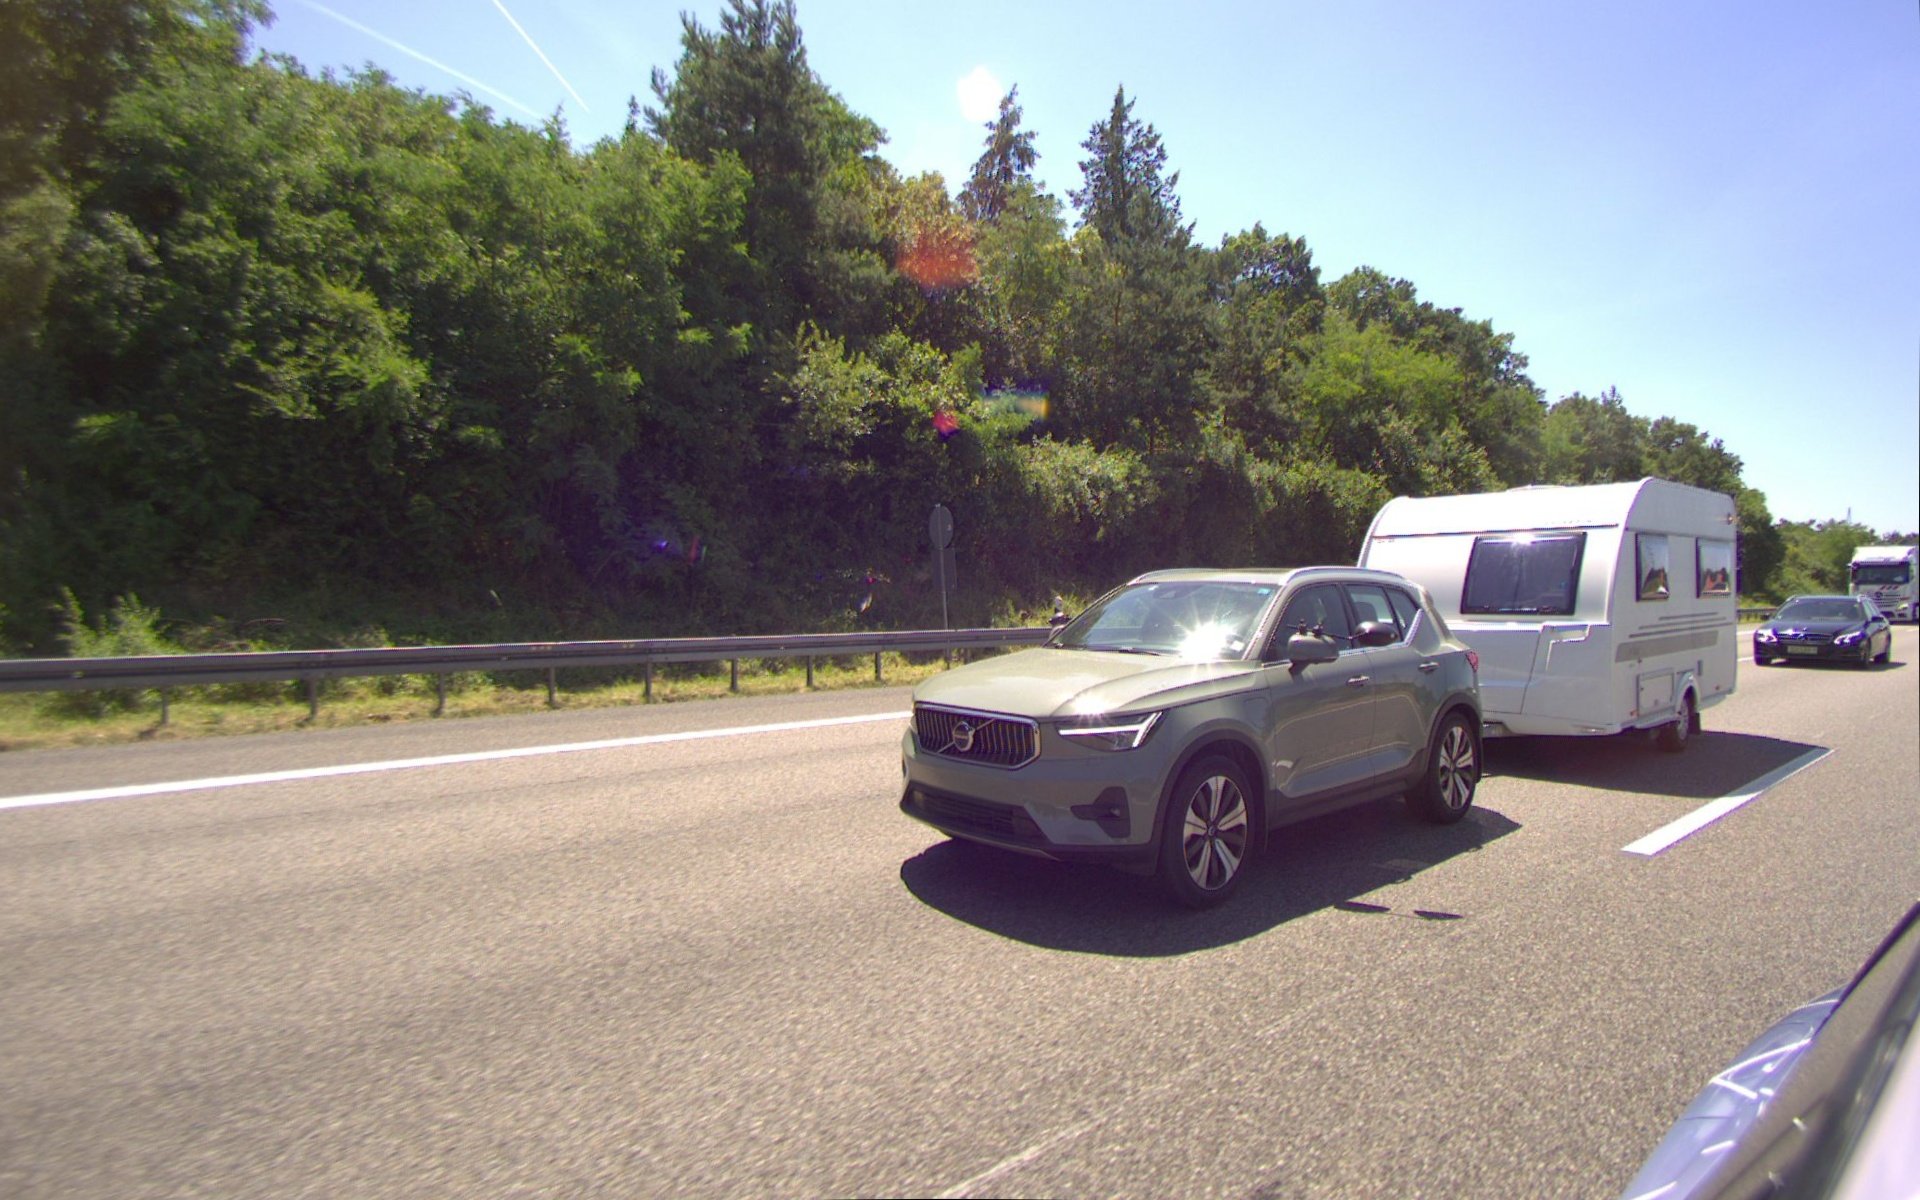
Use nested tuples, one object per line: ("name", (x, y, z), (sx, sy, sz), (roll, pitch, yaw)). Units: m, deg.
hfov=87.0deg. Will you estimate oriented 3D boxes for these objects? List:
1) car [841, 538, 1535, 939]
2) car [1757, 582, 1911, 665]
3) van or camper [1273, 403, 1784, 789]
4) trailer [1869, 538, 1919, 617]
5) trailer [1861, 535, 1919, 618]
("car", (1.699, 0.524, 6.355), (4.619, 1.632, 1.883), (-1, 1, -41))
("car", (18.822, 0.415, 21.718), (4.655, 1.524, 1.845), (-1, 2, -41))
("van or camper", (5.939, -0.064, 10.078), (6.238, 2.708, 2.444), (0, 1, -41))
("trailer", (54.761, -1.213, 57.980), (12.964, 4.154, 2.732), (0, 1, -43))
("trailer", (50.123, -1.209, 53.726), (6.673, 4.154, 2.717), (0, 1, -42))
